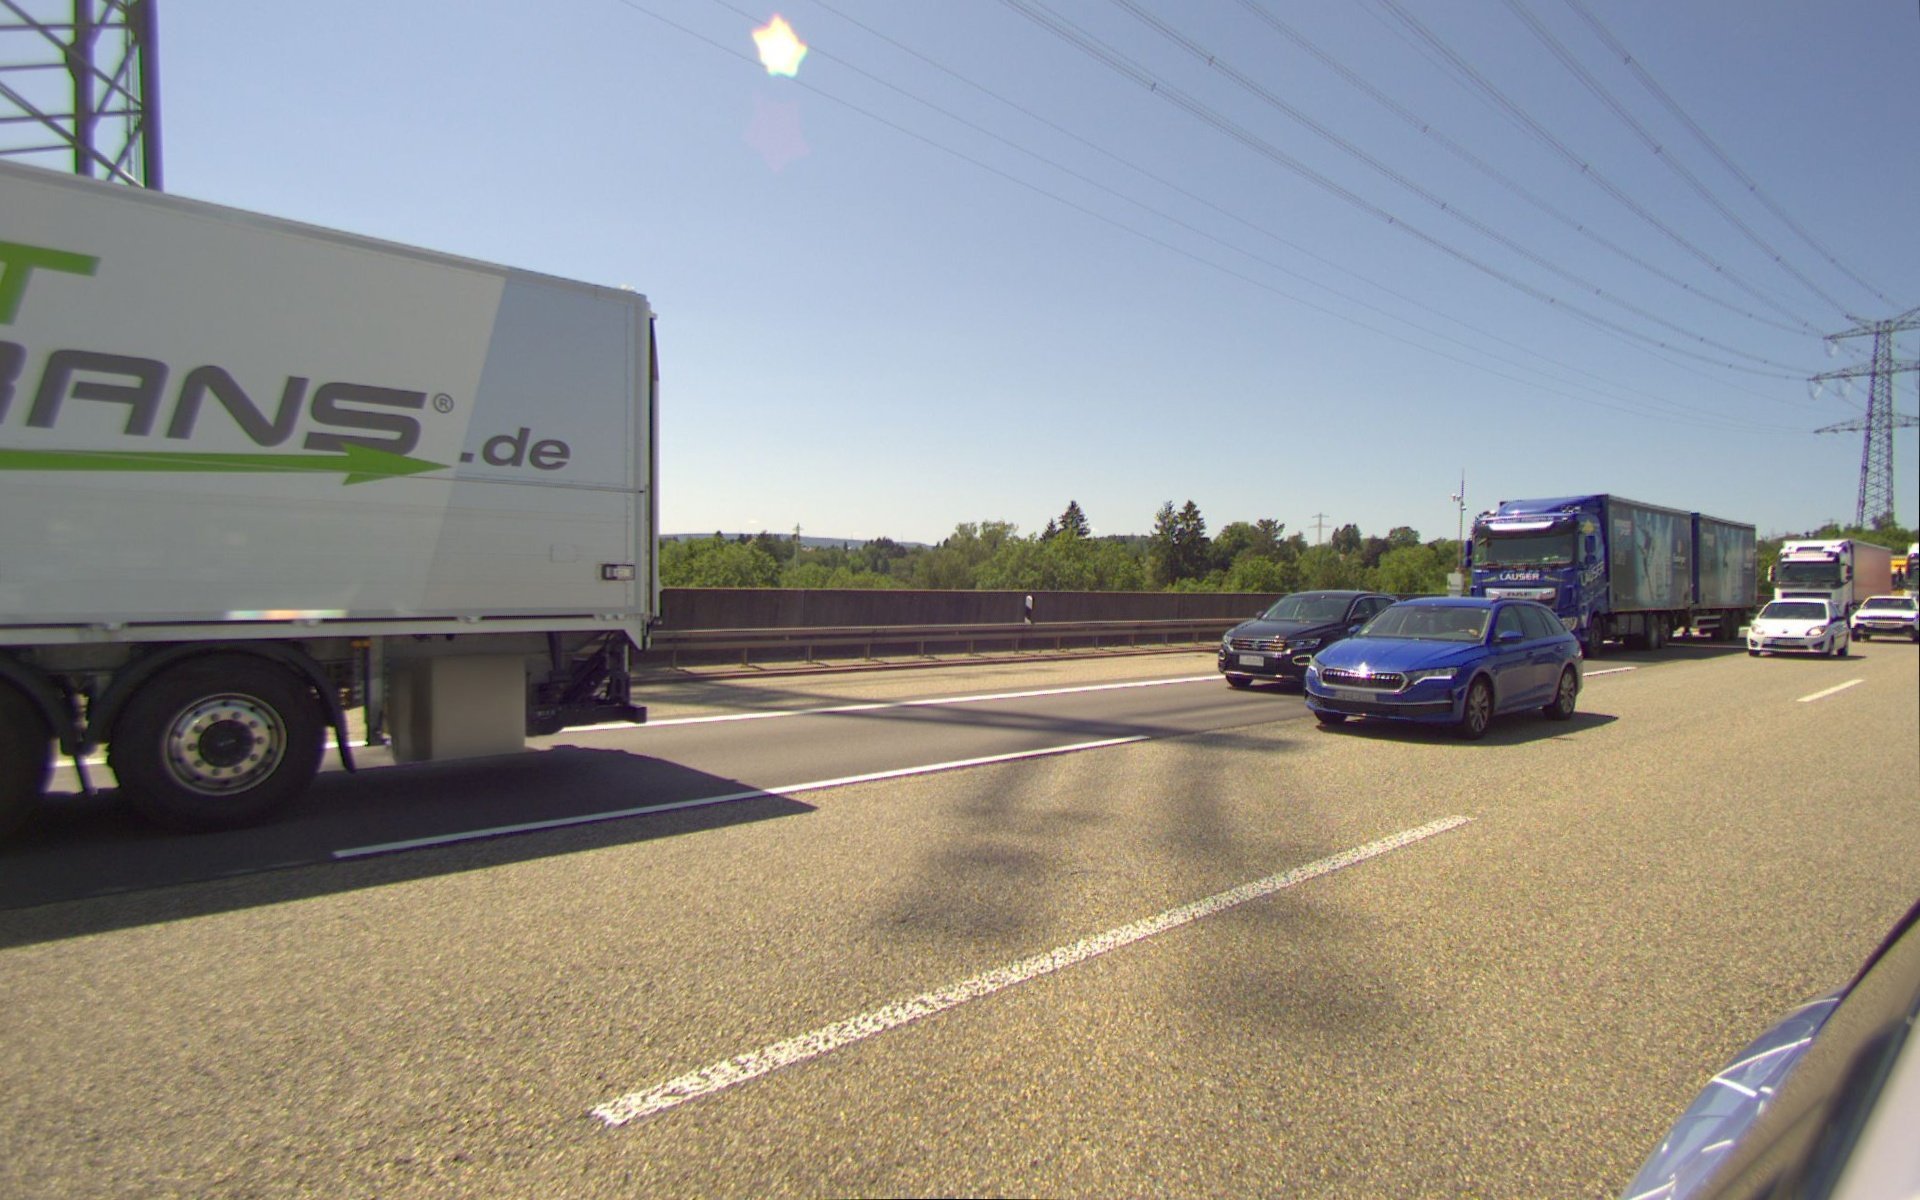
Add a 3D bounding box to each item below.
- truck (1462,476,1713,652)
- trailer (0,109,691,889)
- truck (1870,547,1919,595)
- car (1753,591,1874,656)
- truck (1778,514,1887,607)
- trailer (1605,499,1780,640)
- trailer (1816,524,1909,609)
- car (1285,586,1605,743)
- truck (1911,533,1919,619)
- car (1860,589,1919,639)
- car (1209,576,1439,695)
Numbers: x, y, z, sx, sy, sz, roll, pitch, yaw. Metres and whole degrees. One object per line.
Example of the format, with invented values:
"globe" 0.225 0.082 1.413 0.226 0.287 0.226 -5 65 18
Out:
"truck" 17.299 -0.893 27.453 10.212 3.999 2.857 -1 1 -41
"trailer" -5.995 -0.515 6.031 8.073 3.940 2.903 -1 1 -42
"truck" 63.562 -1.954 68.511 6.139 3.018 2.249 -1 4 -43
"car" 21.529 0.537 25.487 4.072 1.470 1.711 -1 1 -41
"truck" 41.036 -1.757 47.508 8.119 4.037 2.607 -1 0 -40
"trailer" 24.431 -0.963 33.568 8.487 4.140 2.833 -1 0 -41
"trailer" 47.436 -1.695 53.075 8.928 4.169 2.606 -1 0 -42
"car" 5.767 0.590 11.774 4.483 1.470 1.711 -1 1 -41
"truck" 47.151 -1.154 47.392 8.118 3.874 2.848 -1 0 -40
"car" 31.290 0.418 33.514 4.072 1.528 1.711 -1 1 -41
"car" 5.900 0.462 16.189 4.046 1.675 1.711 -1 1 -41
